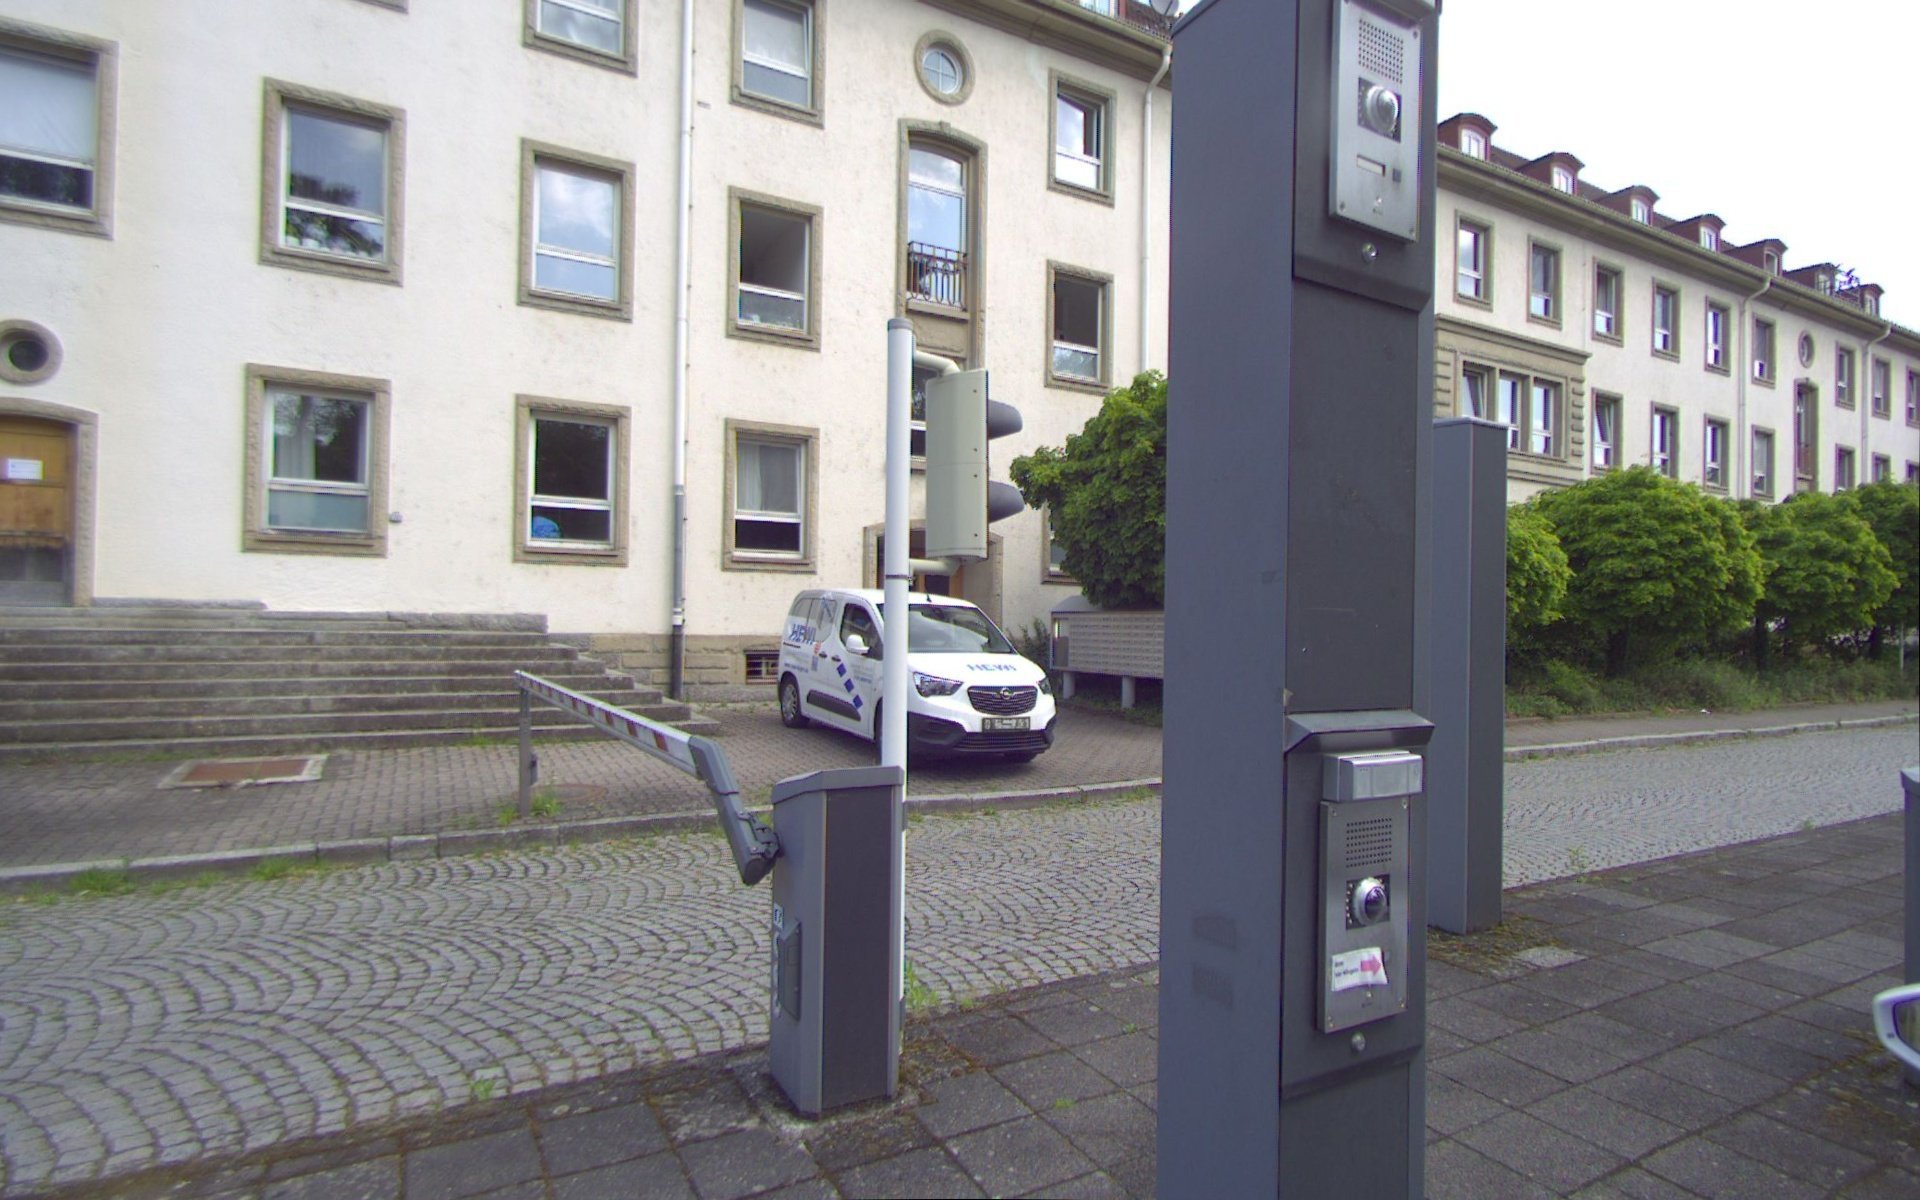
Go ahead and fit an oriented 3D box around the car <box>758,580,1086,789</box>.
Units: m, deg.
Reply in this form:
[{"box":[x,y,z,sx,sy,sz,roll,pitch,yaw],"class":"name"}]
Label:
[{"box":[-0.671,0.764,11.681,1.838,1.775,4.411,1,3,-32],"class":"car"}]
